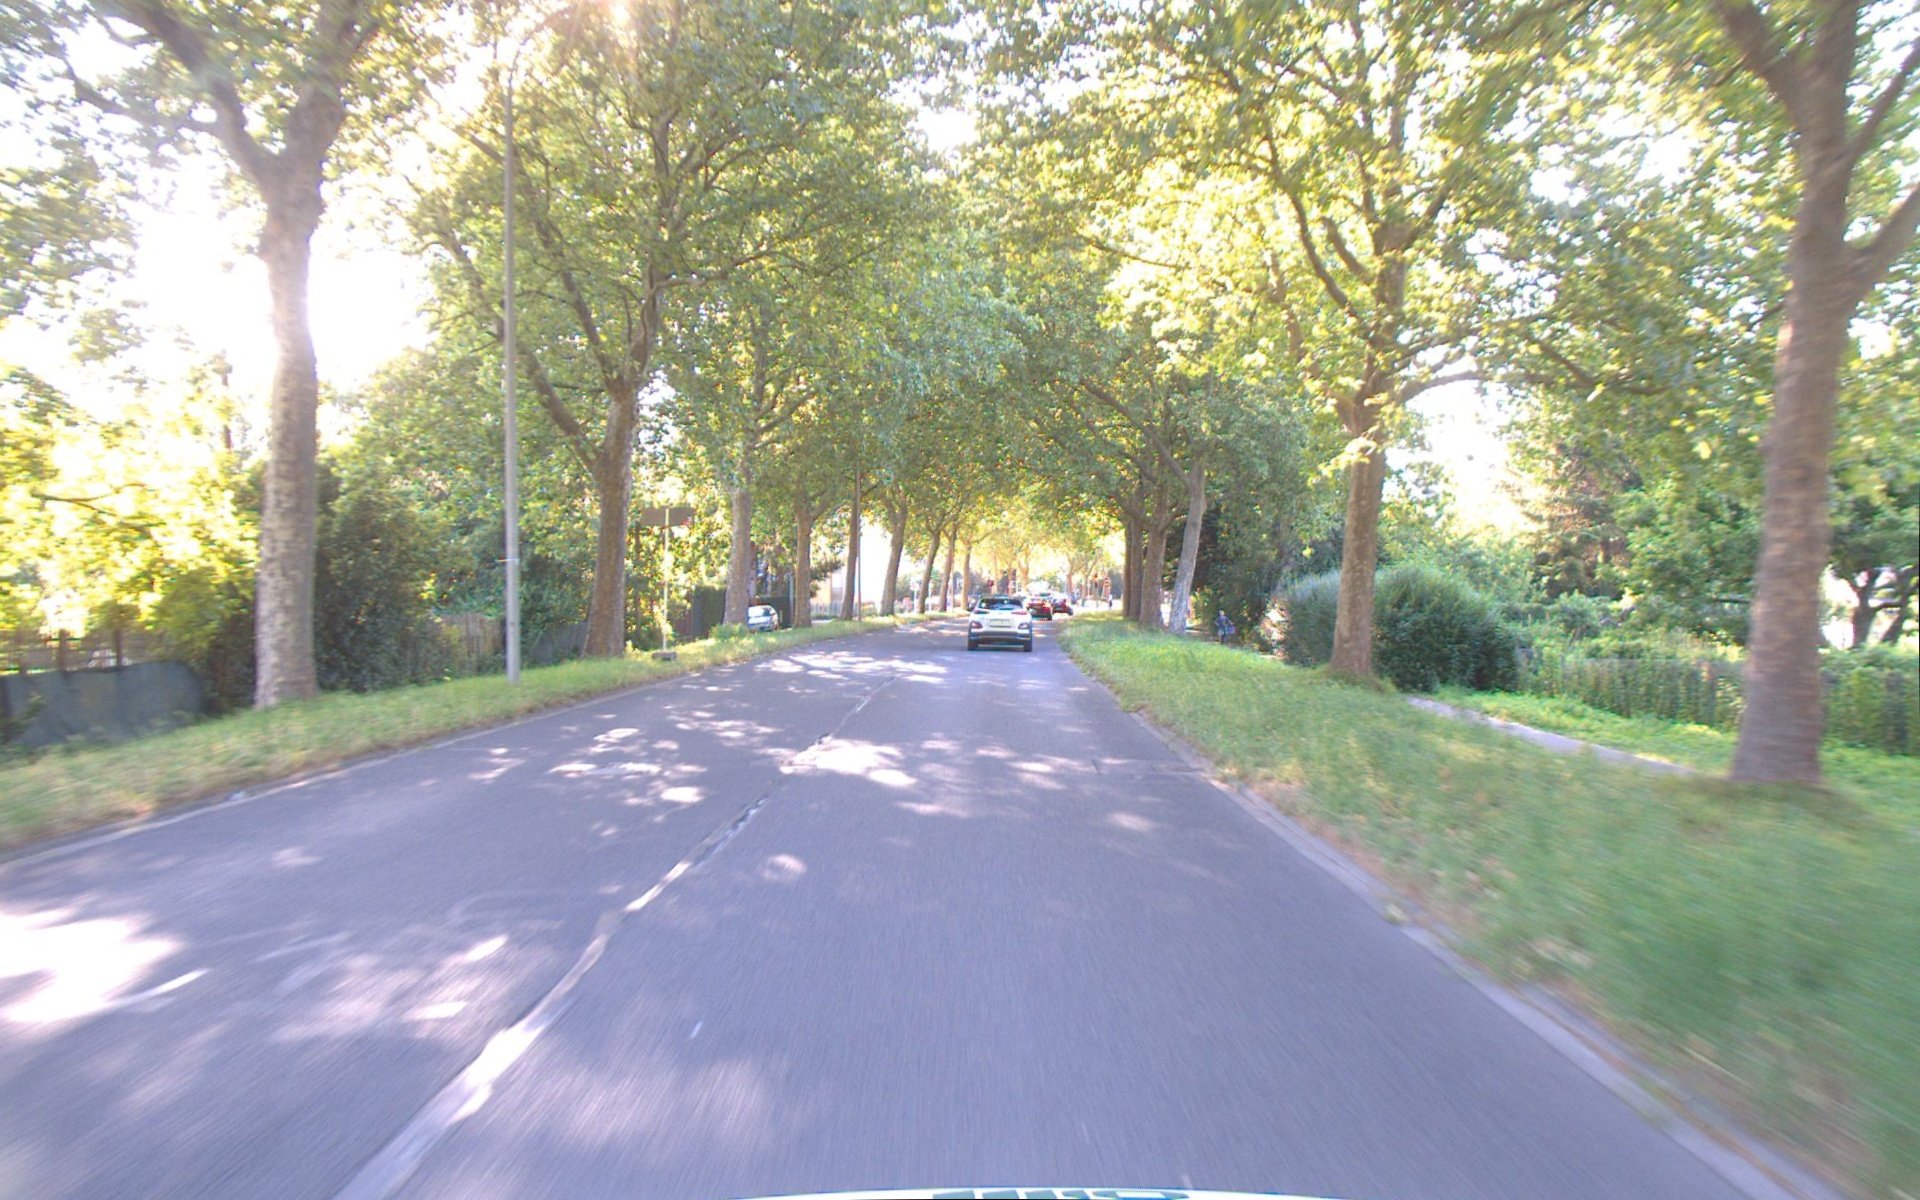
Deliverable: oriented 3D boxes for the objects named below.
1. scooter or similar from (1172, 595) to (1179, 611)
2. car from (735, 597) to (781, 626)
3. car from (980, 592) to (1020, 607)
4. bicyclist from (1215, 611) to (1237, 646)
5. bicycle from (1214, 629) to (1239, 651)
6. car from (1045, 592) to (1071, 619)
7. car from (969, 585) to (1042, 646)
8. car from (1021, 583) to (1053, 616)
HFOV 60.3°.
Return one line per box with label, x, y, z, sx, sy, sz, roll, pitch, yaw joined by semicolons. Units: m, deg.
scooter or similar;18.420;0.250;141.184;0.537;1.280;2.315;1;0;7
car;-9.971;0.537;81.867;1.716;1.327;4.001;-1;1;0
car;4.093;-0.050;168.241;3.902;1.504;2.001;1;0;7
bicyclist;10.710;1.152;66.575;0.719;1.390;0.770;1;-1;-4
bicycle;10.708;1.583;66.376;0.541;0.831;1.887;1;0;-5
car;7.816;0.438;132.139;1.952;2.049;4.002;1;0;3
car;1.308;0.430;46.957;1.952;1.602;4.001;1;0;2
car;4.892;-0.010;105.353;1.952;2.049;4.001;1;0;3
